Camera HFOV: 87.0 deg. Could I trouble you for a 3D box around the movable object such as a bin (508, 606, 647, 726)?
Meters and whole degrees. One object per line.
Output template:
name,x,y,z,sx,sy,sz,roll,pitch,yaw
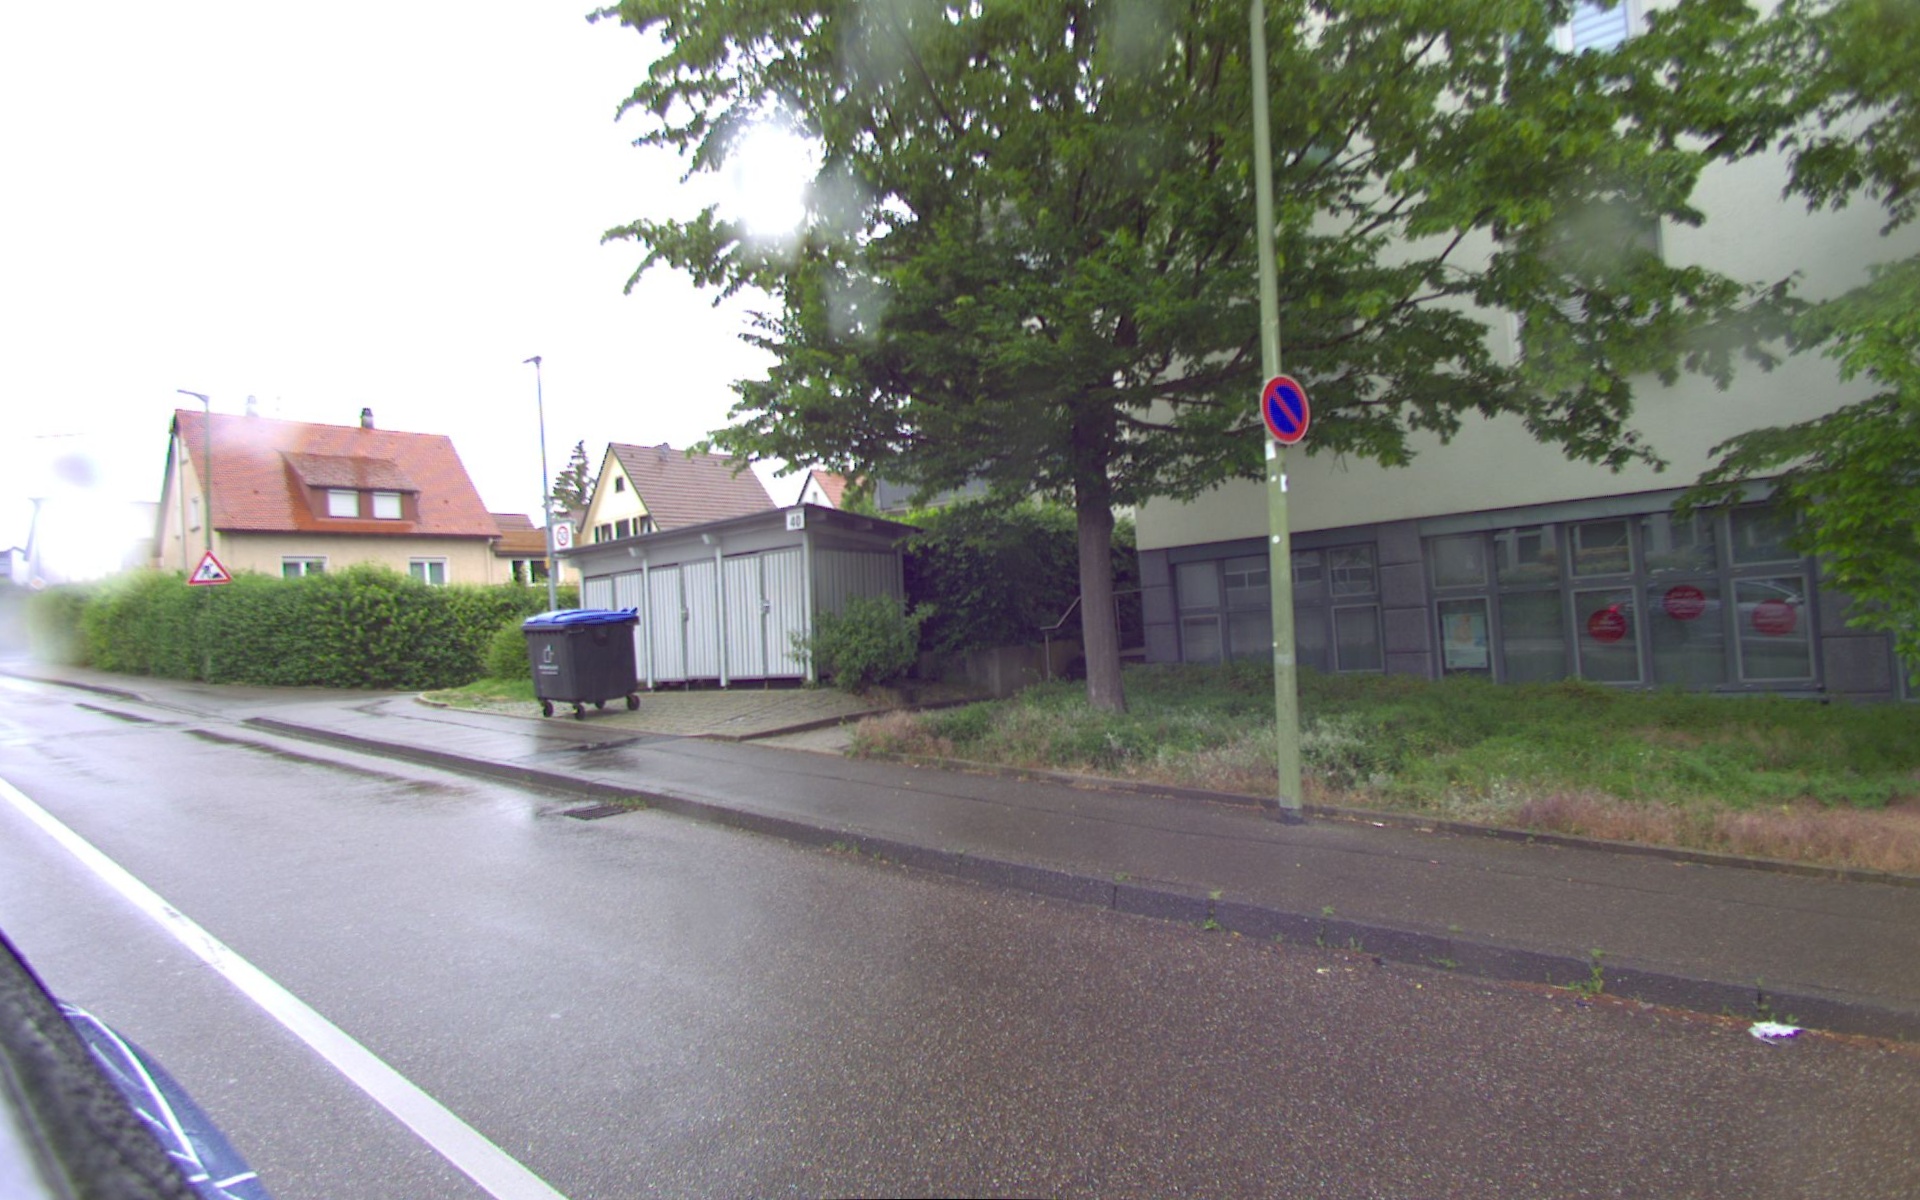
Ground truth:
movable object such as a bin,-4.797,0.796,12.692,1.317,1.357,1.061,-2,1,39
